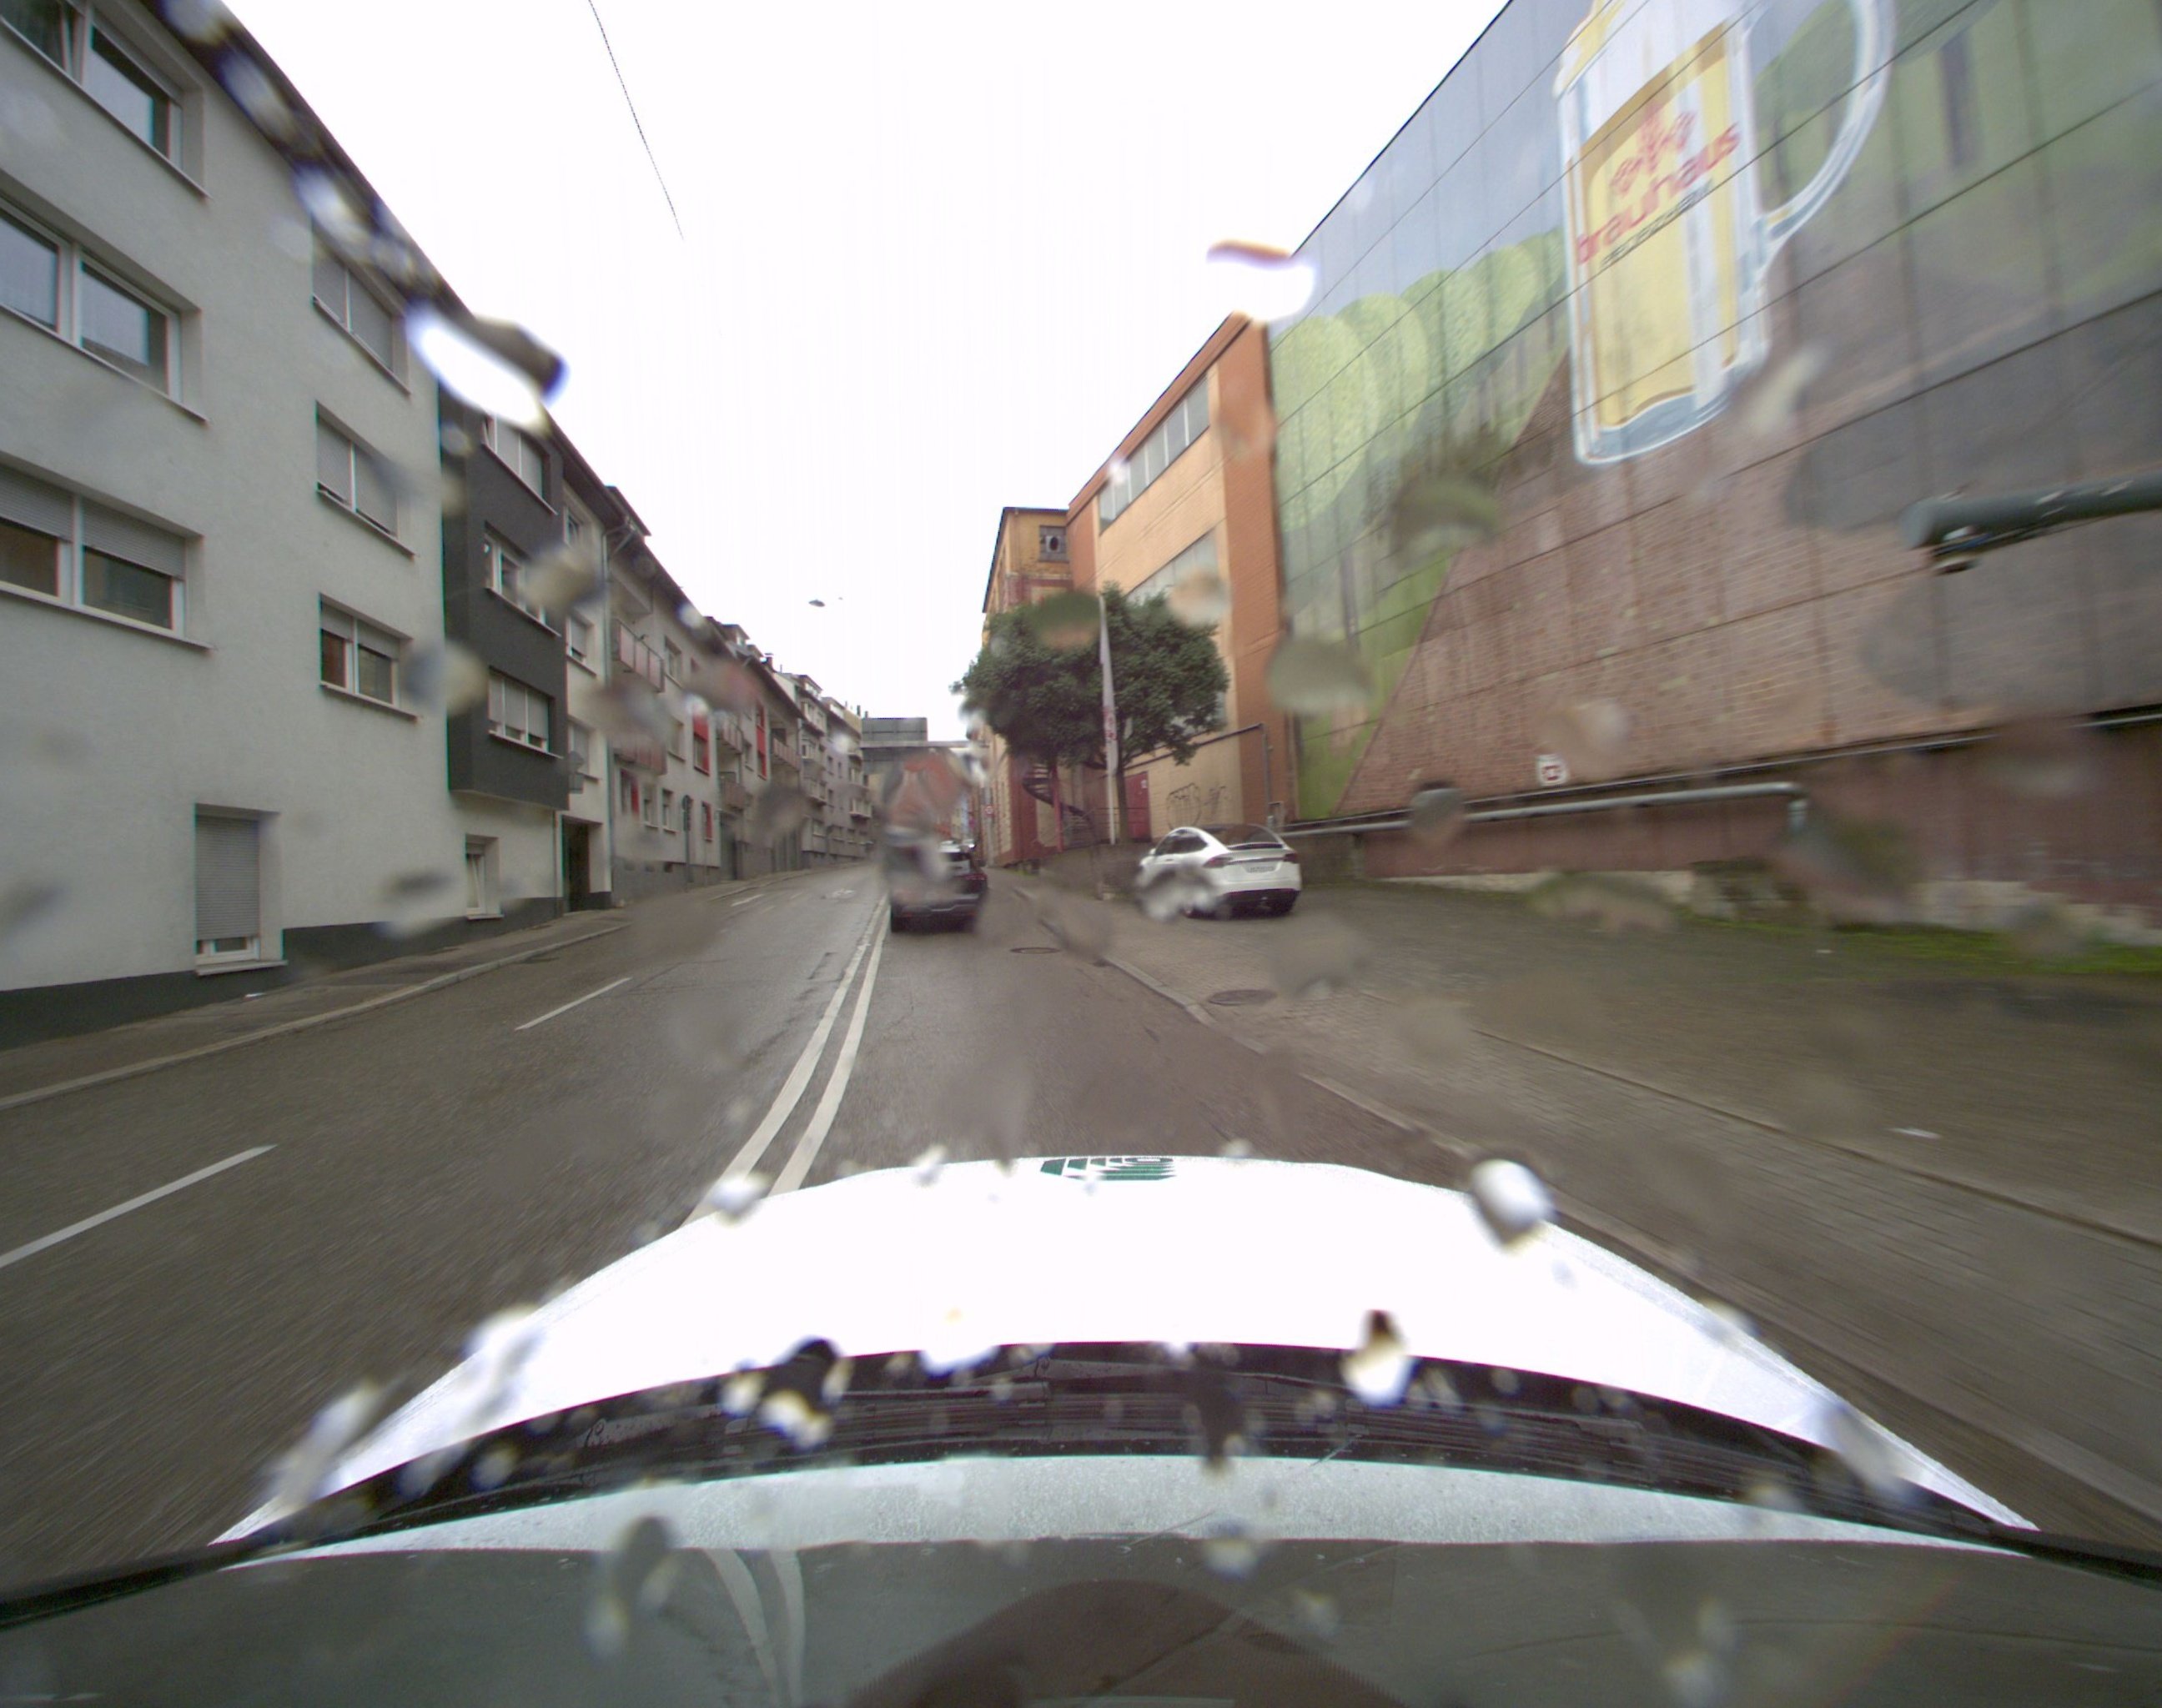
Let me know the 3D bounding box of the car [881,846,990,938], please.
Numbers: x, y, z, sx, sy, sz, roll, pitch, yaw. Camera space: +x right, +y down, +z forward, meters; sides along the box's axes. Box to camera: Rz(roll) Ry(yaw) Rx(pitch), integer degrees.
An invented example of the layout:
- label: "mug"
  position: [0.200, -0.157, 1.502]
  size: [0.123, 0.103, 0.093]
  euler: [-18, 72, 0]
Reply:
- label: "car"
  position: [-2.960, 0.648, 16.137]
  size: [1.883, 1.594, 3.903]
  euler: [0, 0, -13]

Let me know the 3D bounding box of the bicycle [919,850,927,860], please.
- label: "bicycle"
  position: [-19.755, 0.095, 101.806]
  size: [0.496, 1.107, 1.801]
  euler: [-2, 2, 2]

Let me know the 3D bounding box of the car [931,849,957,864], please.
- label: "car"
  position: [-14.814, 0.319, 88.049]
  size: [1.786, 1.510, 4.004]
  euler: [-3, -1, 4]

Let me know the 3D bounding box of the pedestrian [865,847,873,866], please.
- label: "pedestrian"
  position: [-19.788, 0.204, 76.012]
  size: [0.522, 1.775, 0.621]
  euler: [-3, 1, -5]

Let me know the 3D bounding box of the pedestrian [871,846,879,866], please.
- label: "pedestrian"
  position: [-19.245, 0.182, 76.076]
  size: [0.522, 1.775, 0.621]
  euler: [-3, 1, -5]

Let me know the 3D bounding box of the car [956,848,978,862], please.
- label: "car"
  position: [-13.986, 0.162, 100.261]
  size: [1.786, 1.510, 4.004]
  euler: [-3, -1, 4]

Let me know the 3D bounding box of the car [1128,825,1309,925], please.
- label: "car"
  position: [2.490, 0.289, 16.207]
  size: [1.854, 1.617, 4.895]
  euler: [-2, 2, -12]
